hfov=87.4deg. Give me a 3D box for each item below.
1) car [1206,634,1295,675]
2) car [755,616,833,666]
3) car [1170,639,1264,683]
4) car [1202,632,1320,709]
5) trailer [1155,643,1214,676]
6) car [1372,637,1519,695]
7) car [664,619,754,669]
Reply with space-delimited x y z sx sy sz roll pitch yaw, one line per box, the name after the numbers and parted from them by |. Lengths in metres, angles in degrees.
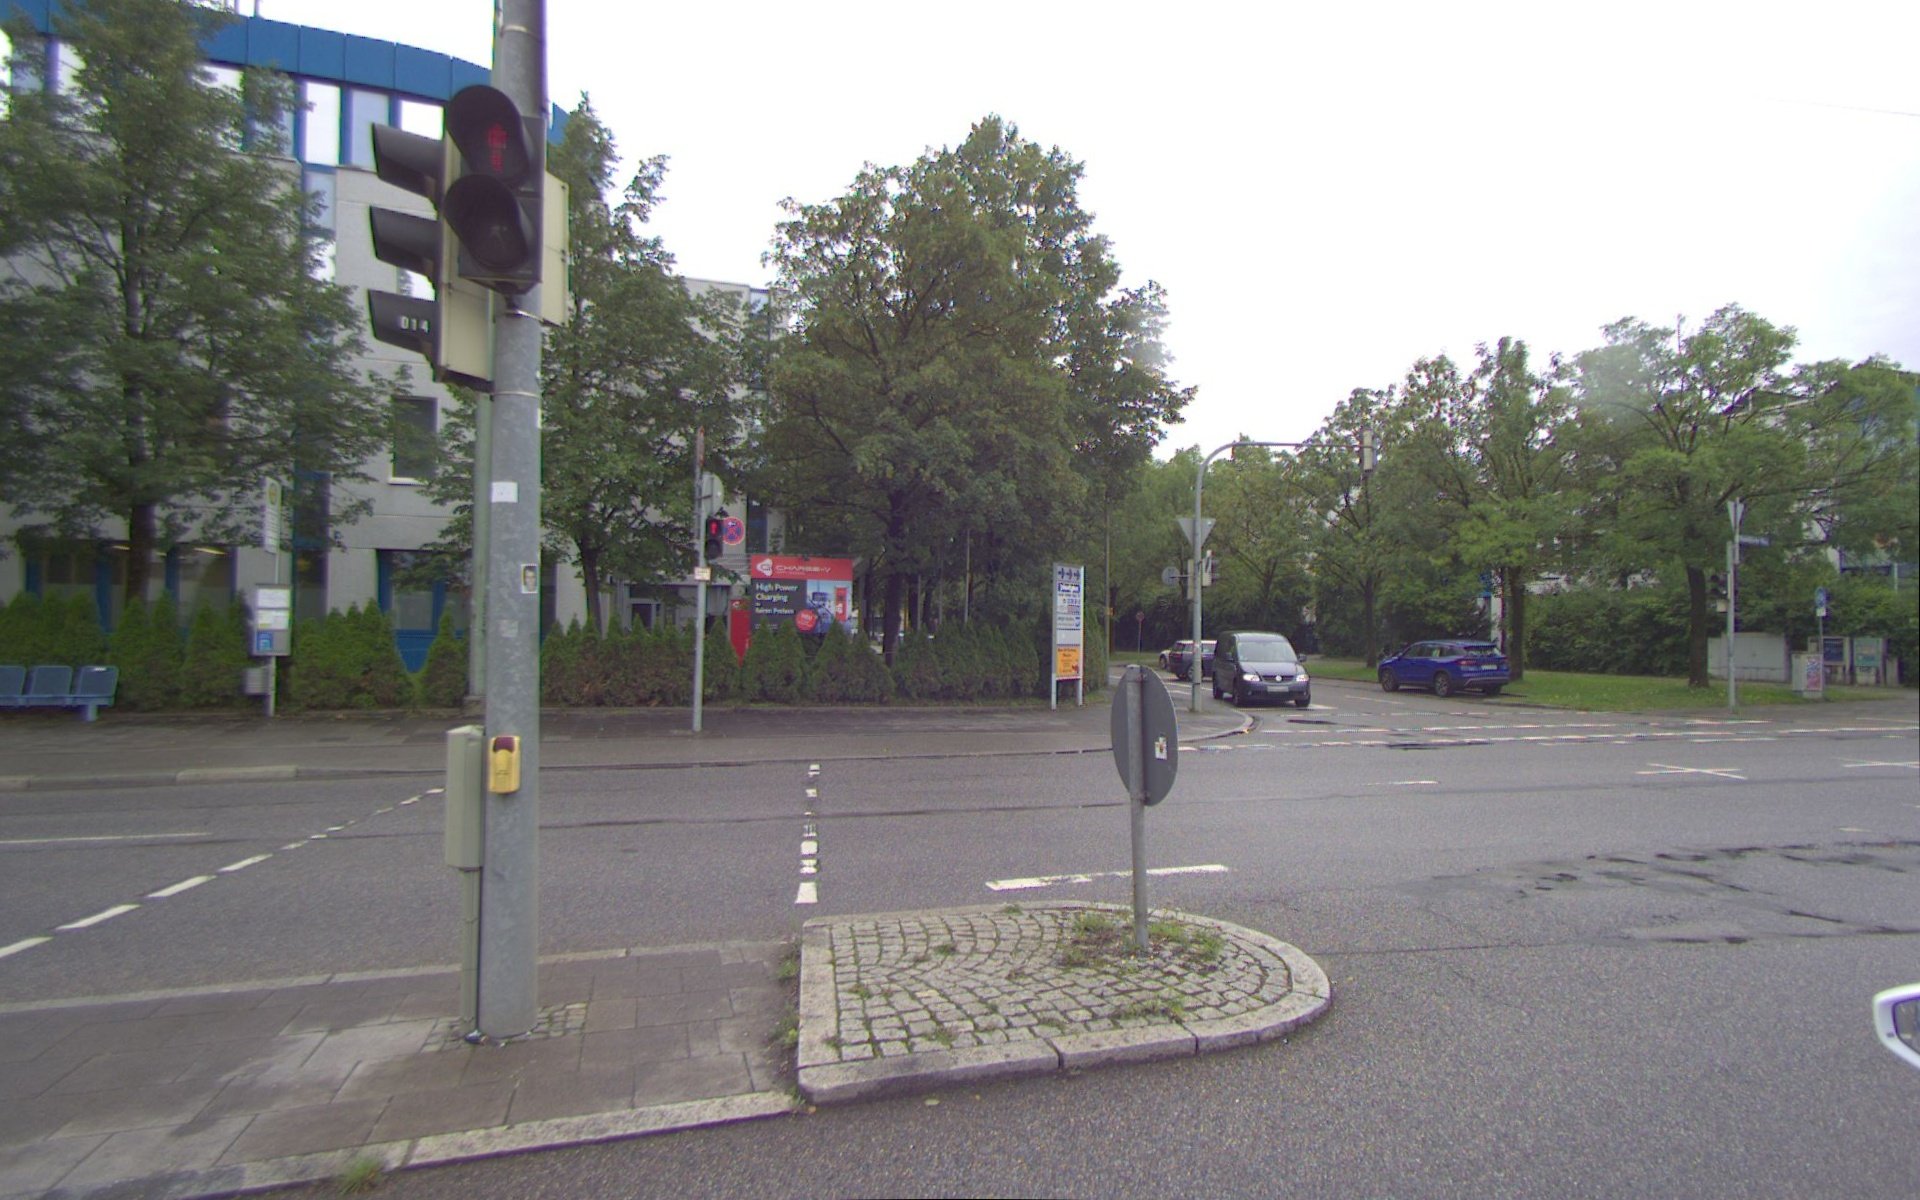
12.345 2.307 42.975 1.733 1.595 4.153 -1 -2 -15 | car
-5.233 1.260 32.156 1.833 1.437 4.176 1 -1 -1 | car
9.251 2.184 36.269 3.214 1.462 1.666 0 -2 14 | car
7.623 1.759 25.925 1.960 1.745 4.794 1 -3 5 | car
10.716 2.844 48.217 1.427 1.432 3.333 1 -1 -14 | trailer
14.877 1.981 31.085 1.964 1.595 4.277 -1 -2 -9 | car
-7.867 1.351 31.844 1.833 1.437 4.176 1 -1 -1 | car
